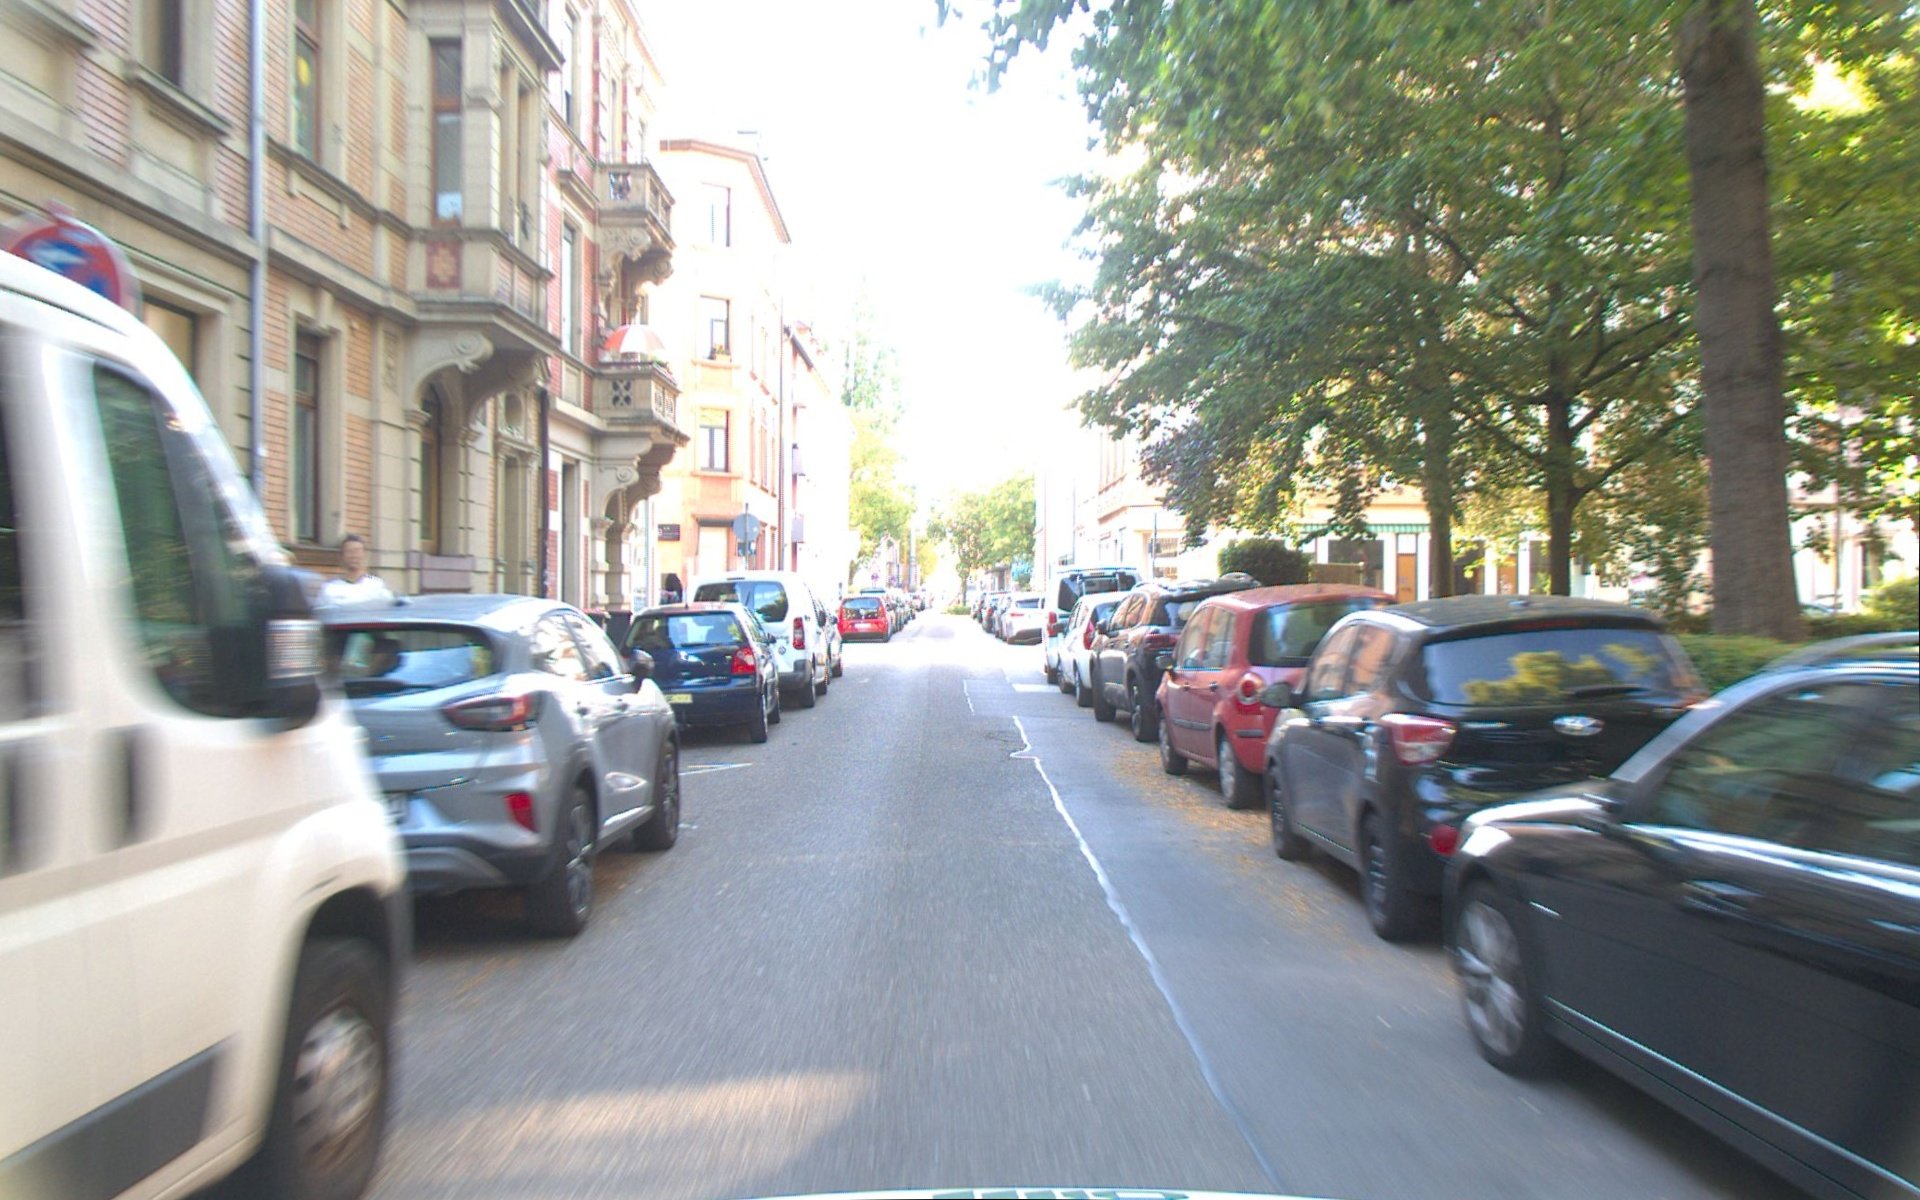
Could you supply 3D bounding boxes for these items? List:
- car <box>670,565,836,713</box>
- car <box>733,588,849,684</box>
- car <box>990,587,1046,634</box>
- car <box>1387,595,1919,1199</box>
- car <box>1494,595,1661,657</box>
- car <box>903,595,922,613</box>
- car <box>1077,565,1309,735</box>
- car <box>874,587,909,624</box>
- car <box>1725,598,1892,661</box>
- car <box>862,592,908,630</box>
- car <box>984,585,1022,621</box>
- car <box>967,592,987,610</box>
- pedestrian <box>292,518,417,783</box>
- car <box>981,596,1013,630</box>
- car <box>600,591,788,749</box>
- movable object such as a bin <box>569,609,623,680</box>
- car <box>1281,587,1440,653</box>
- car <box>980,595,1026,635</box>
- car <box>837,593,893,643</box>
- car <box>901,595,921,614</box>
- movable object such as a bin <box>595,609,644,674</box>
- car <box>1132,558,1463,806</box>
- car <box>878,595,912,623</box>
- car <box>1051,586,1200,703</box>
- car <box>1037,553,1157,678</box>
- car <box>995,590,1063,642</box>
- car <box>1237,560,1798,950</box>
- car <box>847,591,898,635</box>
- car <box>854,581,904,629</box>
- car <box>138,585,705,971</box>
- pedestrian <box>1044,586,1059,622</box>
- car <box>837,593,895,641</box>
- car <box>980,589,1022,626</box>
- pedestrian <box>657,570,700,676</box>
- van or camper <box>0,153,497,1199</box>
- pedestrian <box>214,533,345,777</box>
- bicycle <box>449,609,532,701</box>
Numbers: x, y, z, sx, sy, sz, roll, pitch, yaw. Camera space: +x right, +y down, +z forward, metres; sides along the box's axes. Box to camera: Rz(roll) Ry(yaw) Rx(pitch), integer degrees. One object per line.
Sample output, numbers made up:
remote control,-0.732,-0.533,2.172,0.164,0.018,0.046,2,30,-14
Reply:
car,-2.827,0.484,23.489,1.794,1.843,4.571,-1,0,-1
car,-2.889,0.576,28.918,1.658,1.507,3.972,-1,0,-1
car,2.018,0.354,58.089,1.708,1.533,4.020,-1,0,-1
car,2.651,0.759,4.067,1.642,1.466,4.692,-4,0,-4
car,16.022,0.696,43.018,3.773,1.499,1.634,1,-2,6
car,-4.181,0.371,146.278,1.642,1.513,4.093,-1,0,-1
car,2.574,0.543,19.316,1.706,1.631,4.260,-4,0,-5
car,-3.565,0.279,86.955,1.729,1.816,4.038,-1,0,-1
car,21.786,0.770,42.560,3.456,1.499,1.634,1,-2,6
car,-3.278,0.462,73.004,1.707,1.533,4.347,-1,0,1
car,2.166,0.143,84.048,1.642,1.655,4.249,-4,0,-1
car,1.449,0.061,142.646,1.642,1.513,3.637,-1,0,-1
pedestrian,-4.547,0.373,12.472,0.567,1.915,0.904,1,-1,-1
car,1.965,0.710,89.365,1.641,1.711,4.094,-2,-1,0
car,-2.886,0.693,18.650,1.659,1.540,3.970,-1,0,-3
movable object such as a bin,-5.685,0.682,25.852,0.624,1.059,0.856,2,0,-1
car,10.438,0.546,43.306,3.836,1.636,1.762,1,-2,6
car,1.723,0.570,67.379,1.642,1.533,3.936,-1,0,-1
car,-2.992,0.548,52.685,1.595,1.507,3.600,-1,0,-1
car,-4.202,0.360,141.161,1.642,1.513,4.093,-1,0,-1
movable object such as a bin,-5.780,0.695,28.095,0.624,1.059,0.856,2,0,-1
car,2.623,0.602,13.768,1.587,1.653,3.860,-4,0,-5
car,-3.734,0.501,95.831,1.635,1.495,3.821,-1,0,2
car,2.377,0.602,24.593,1.684,1.598,3.826,0,0,-2
car,2.404,0.245,30.086,1.875,2.033,4.793,-1,0,1
car,2.140,0.475,52.145,1.709,1.533,4.355,-2,0,-3
car,2.657,0.661,8.825,1.586,1.512,3.775,-4,0,-1
car,-3.266,0.451,62.299,1.622,1.548,3.945,-1,0,1
car,-3.286,0.191,67.796,1.707,1.842,4.673,-1,0,1
car,-2.543,0.722,8.921,1.730,1.540,4.192,-1,0,-1
pedestrian,4.239,0.186,76.605,0.671,1.689,0.717,0,0,-1
car,-3.232,0.555,57.478,1.660,1.548,4.096,-1,0,1
car,1.780,0.313,72.478,1.642,1.533,3.936,-1,0,-1
pedestrian,-4.542,0.380,26.732,0.537,1.673,0.717,1,-2,-1
van or camper,-2.528,0.429,2.407,2.132,2.185,5.155,-1,0,1
pedestrian,-5.188,0.415,12.647,0.687,1.803,0.649,1,-1,-1
bicycle,-5.759,0.654,20.358,0.559,1.059,1.546,2,0,-1
